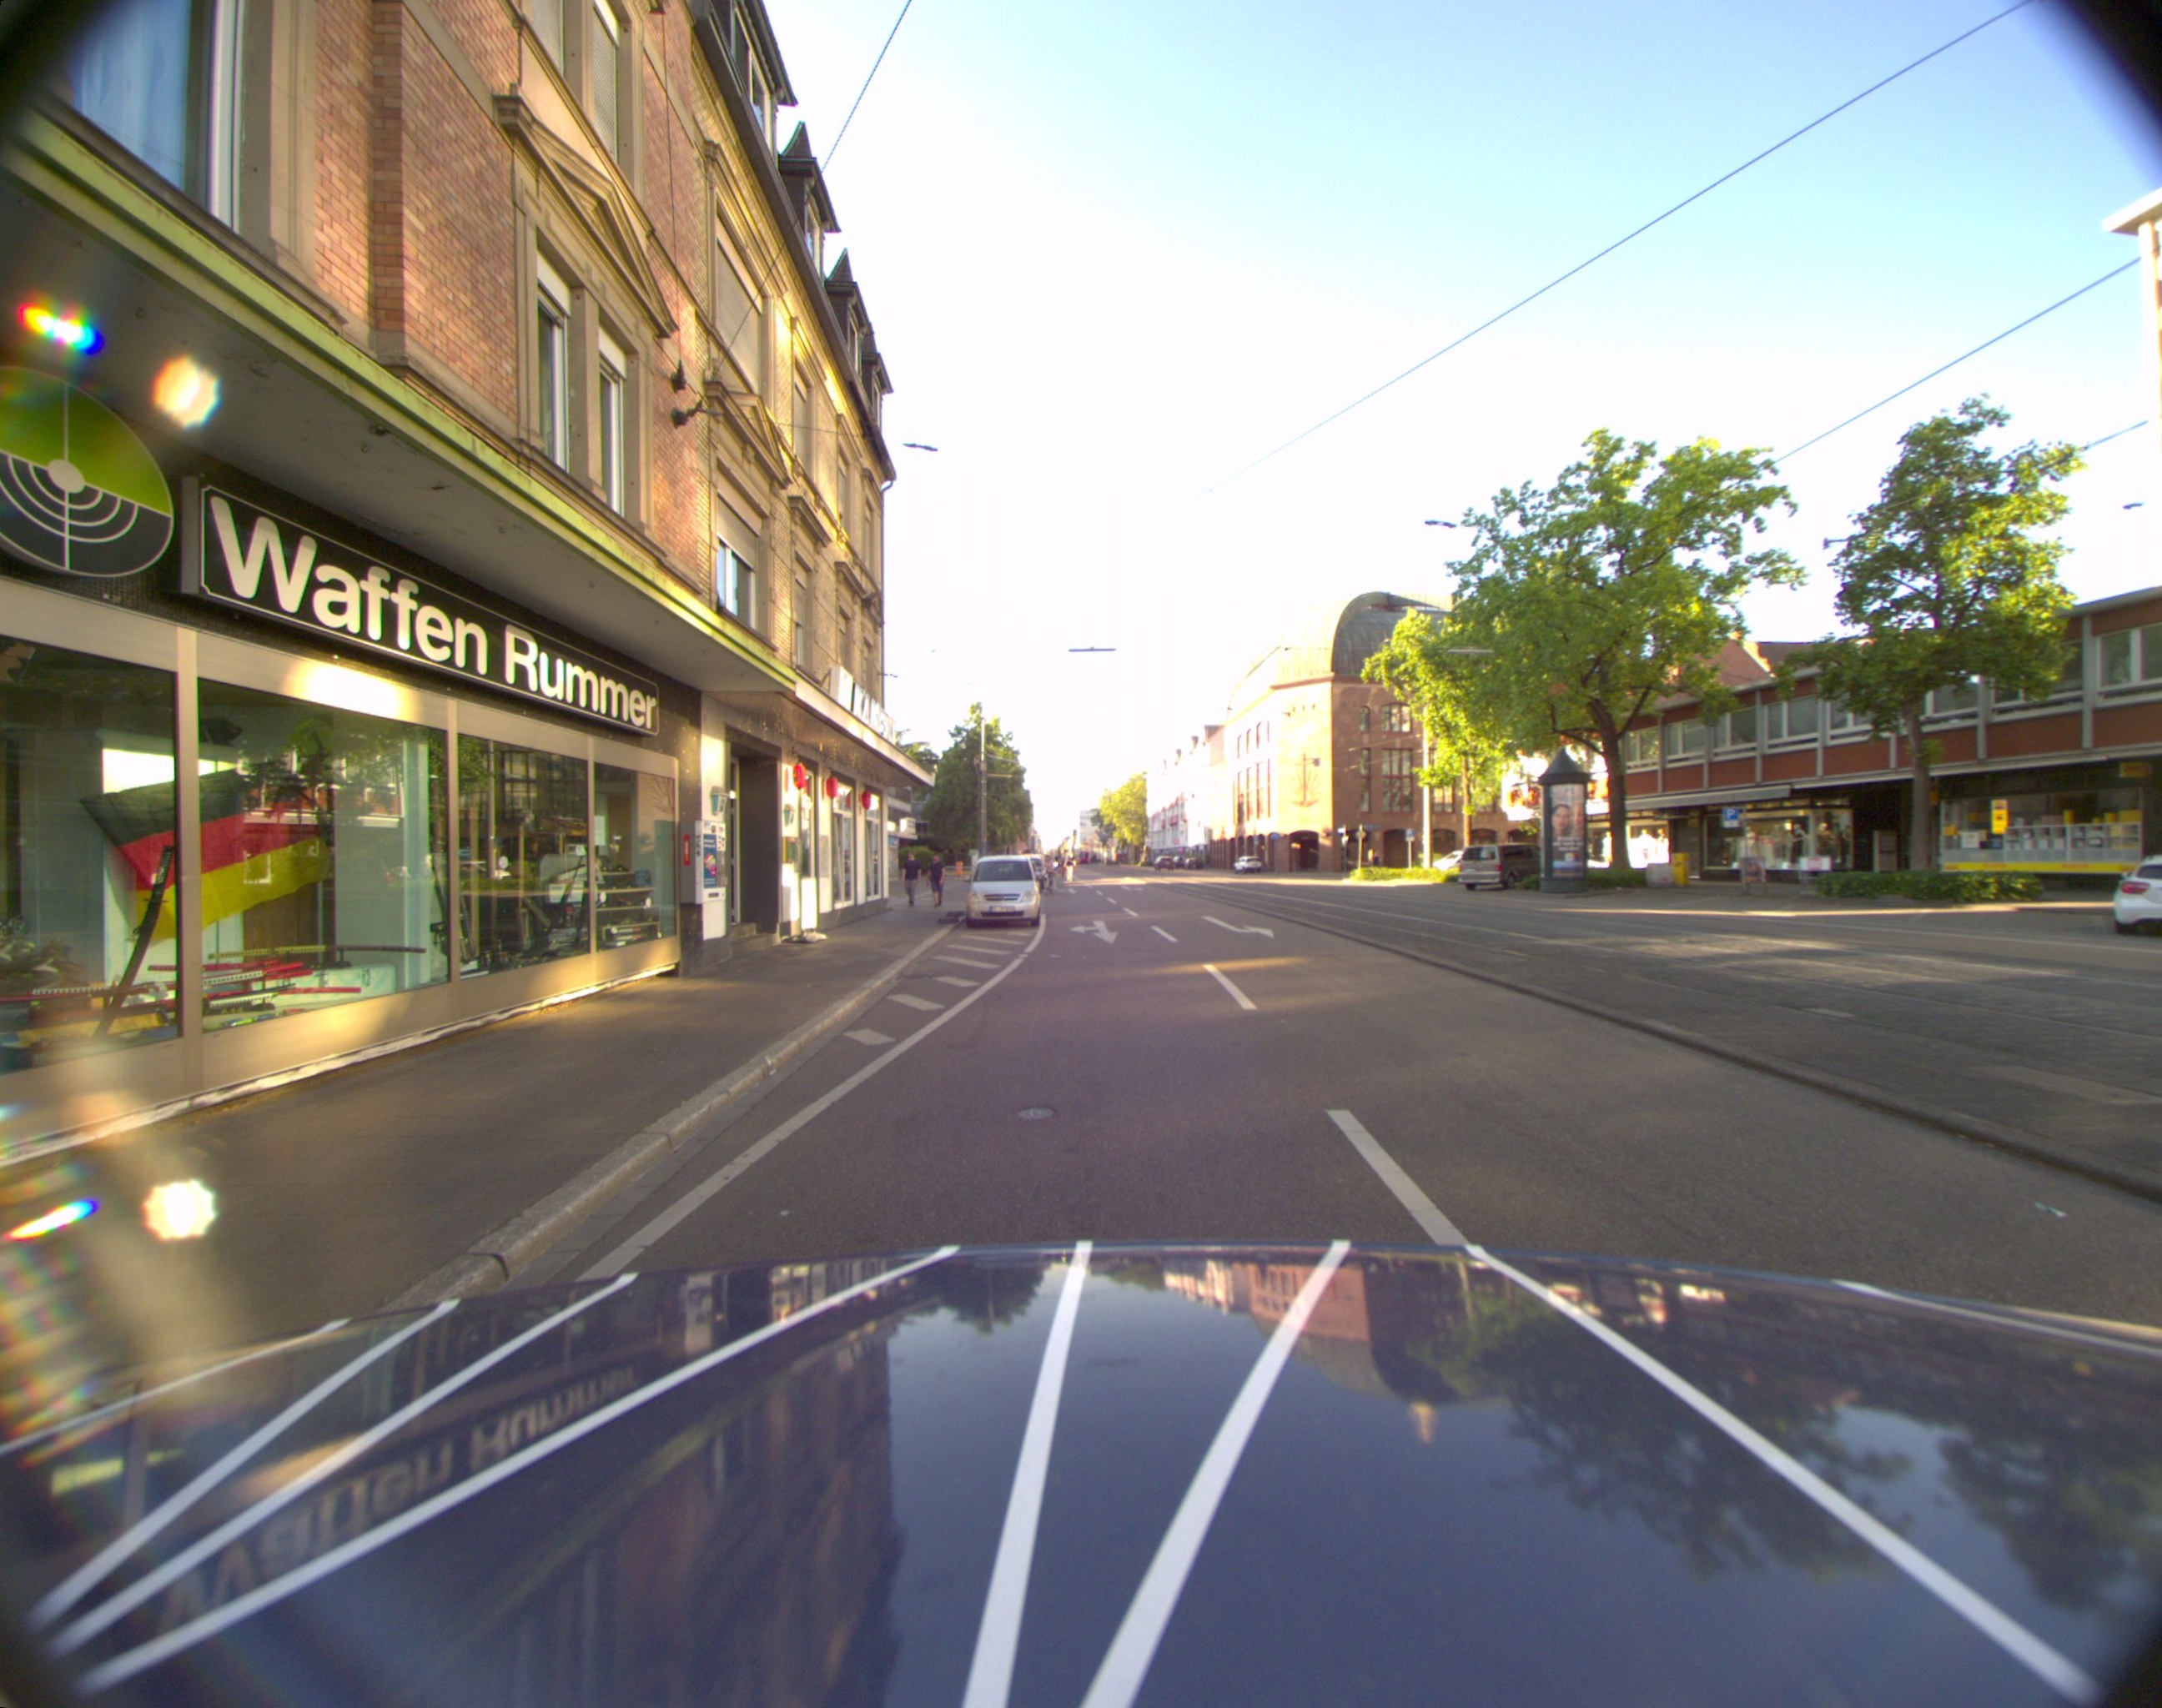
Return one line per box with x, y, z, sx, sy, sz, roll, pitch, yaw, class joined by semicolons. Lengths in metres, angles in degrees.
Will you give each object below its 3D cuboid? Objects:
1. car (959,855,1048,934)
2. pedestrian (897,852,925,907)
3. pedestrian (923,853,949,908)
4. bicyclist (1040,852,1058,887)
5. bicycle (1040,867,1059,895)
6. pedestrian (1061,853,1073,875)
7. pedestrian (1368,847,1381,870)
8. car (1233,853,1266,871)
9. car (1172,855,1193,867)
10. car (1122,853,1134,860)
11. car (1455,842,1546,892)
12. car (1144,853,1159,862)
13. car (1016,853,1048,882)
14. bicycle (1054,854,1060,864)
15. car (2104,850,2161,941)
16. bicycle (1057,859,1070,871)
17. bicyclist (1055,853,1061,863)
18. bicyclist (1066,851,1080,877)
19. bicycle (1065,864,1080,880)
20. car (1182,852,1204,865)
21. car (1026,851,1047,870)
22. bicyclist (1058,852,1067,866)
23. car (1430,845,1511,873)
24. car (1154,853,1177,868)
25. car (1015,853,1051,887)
-1.758;0.870;18.359;1.671;1.674;4.000;-1;0;1;car
-5.417;0.804;24.252;0.701;1.713;0.681;1;1;-1;pedestrian
-4.574;0.826;24.041;0.701;1.713;0.502;1;1;-1;pedestrian
-1.372;0.657;32.915;0.682;1.434;0.944;-2;1;1;bicyclist
-1.353;1.156;32.912;0.682;1.081;1.752;-2;1;1;bicycle
-1.055;0.778;58.171;0.849;1.652;0.850;-1;1;1;pedestrian
22.656;0.366;58.559;0.790;1.737;0.548;0;1;1;pedestrian
15.612;0.722;70.544;1.911;1.594;3.998;-2;0;-4;car
13.856;0.918;104.005;1.965;1.594;3.998;-2;0;-4;car
9.902;0.528;161.614;1.965;1.594;3.998;-2;0;-4;car
18.057;0.531;32.632;4.007;1.952;1.906;-2;1;-37;car
12.850;0.644;139.012;1.965;1.594;3.998;-2;0;-4;car
-2.898;0.769;45.721;1.671;1.674;4.000;-1;0;-1;car
-2.898;0.575;92.461;0.646;1.176;1.804;0;0;-5;bicycle
20.516;0.712;13.996;4.007;1.466;1.793;-2;1;-34;car
-1.749;1.084;74.240;0.674;1.085;2.035;-1;0;-18;bicycle
-2.835;0.451;92.426;0.646;1.176;0.722;0;0;-5;bicyclist
-0.523;0.625;48.627;0.886;1.650;0.803;0;1;1;bicyclist
-0.525;1.138;48.623;0.886;0.949;1.765;0;0;1;bicycle
14.339;0.582;97.581;1.965;1.594;3.998;-2;0;-4;car
-4.106;0.556;70.782;1.671;1.674;4.000;-1;0;-1;car
-1.771;0.492;74.298;0.674;1.414;0.762;-1;1;-18;bicyclist
28.641;0.347;55.989;4.985;2.002;1.999;0;0;-4;car
9.887;0.742;89.065;1.965;1.594;3.998;-2;0;-4;car
-2.507;0.814;40.302;1.671;1.674;4.000;-1;0;-1;car
